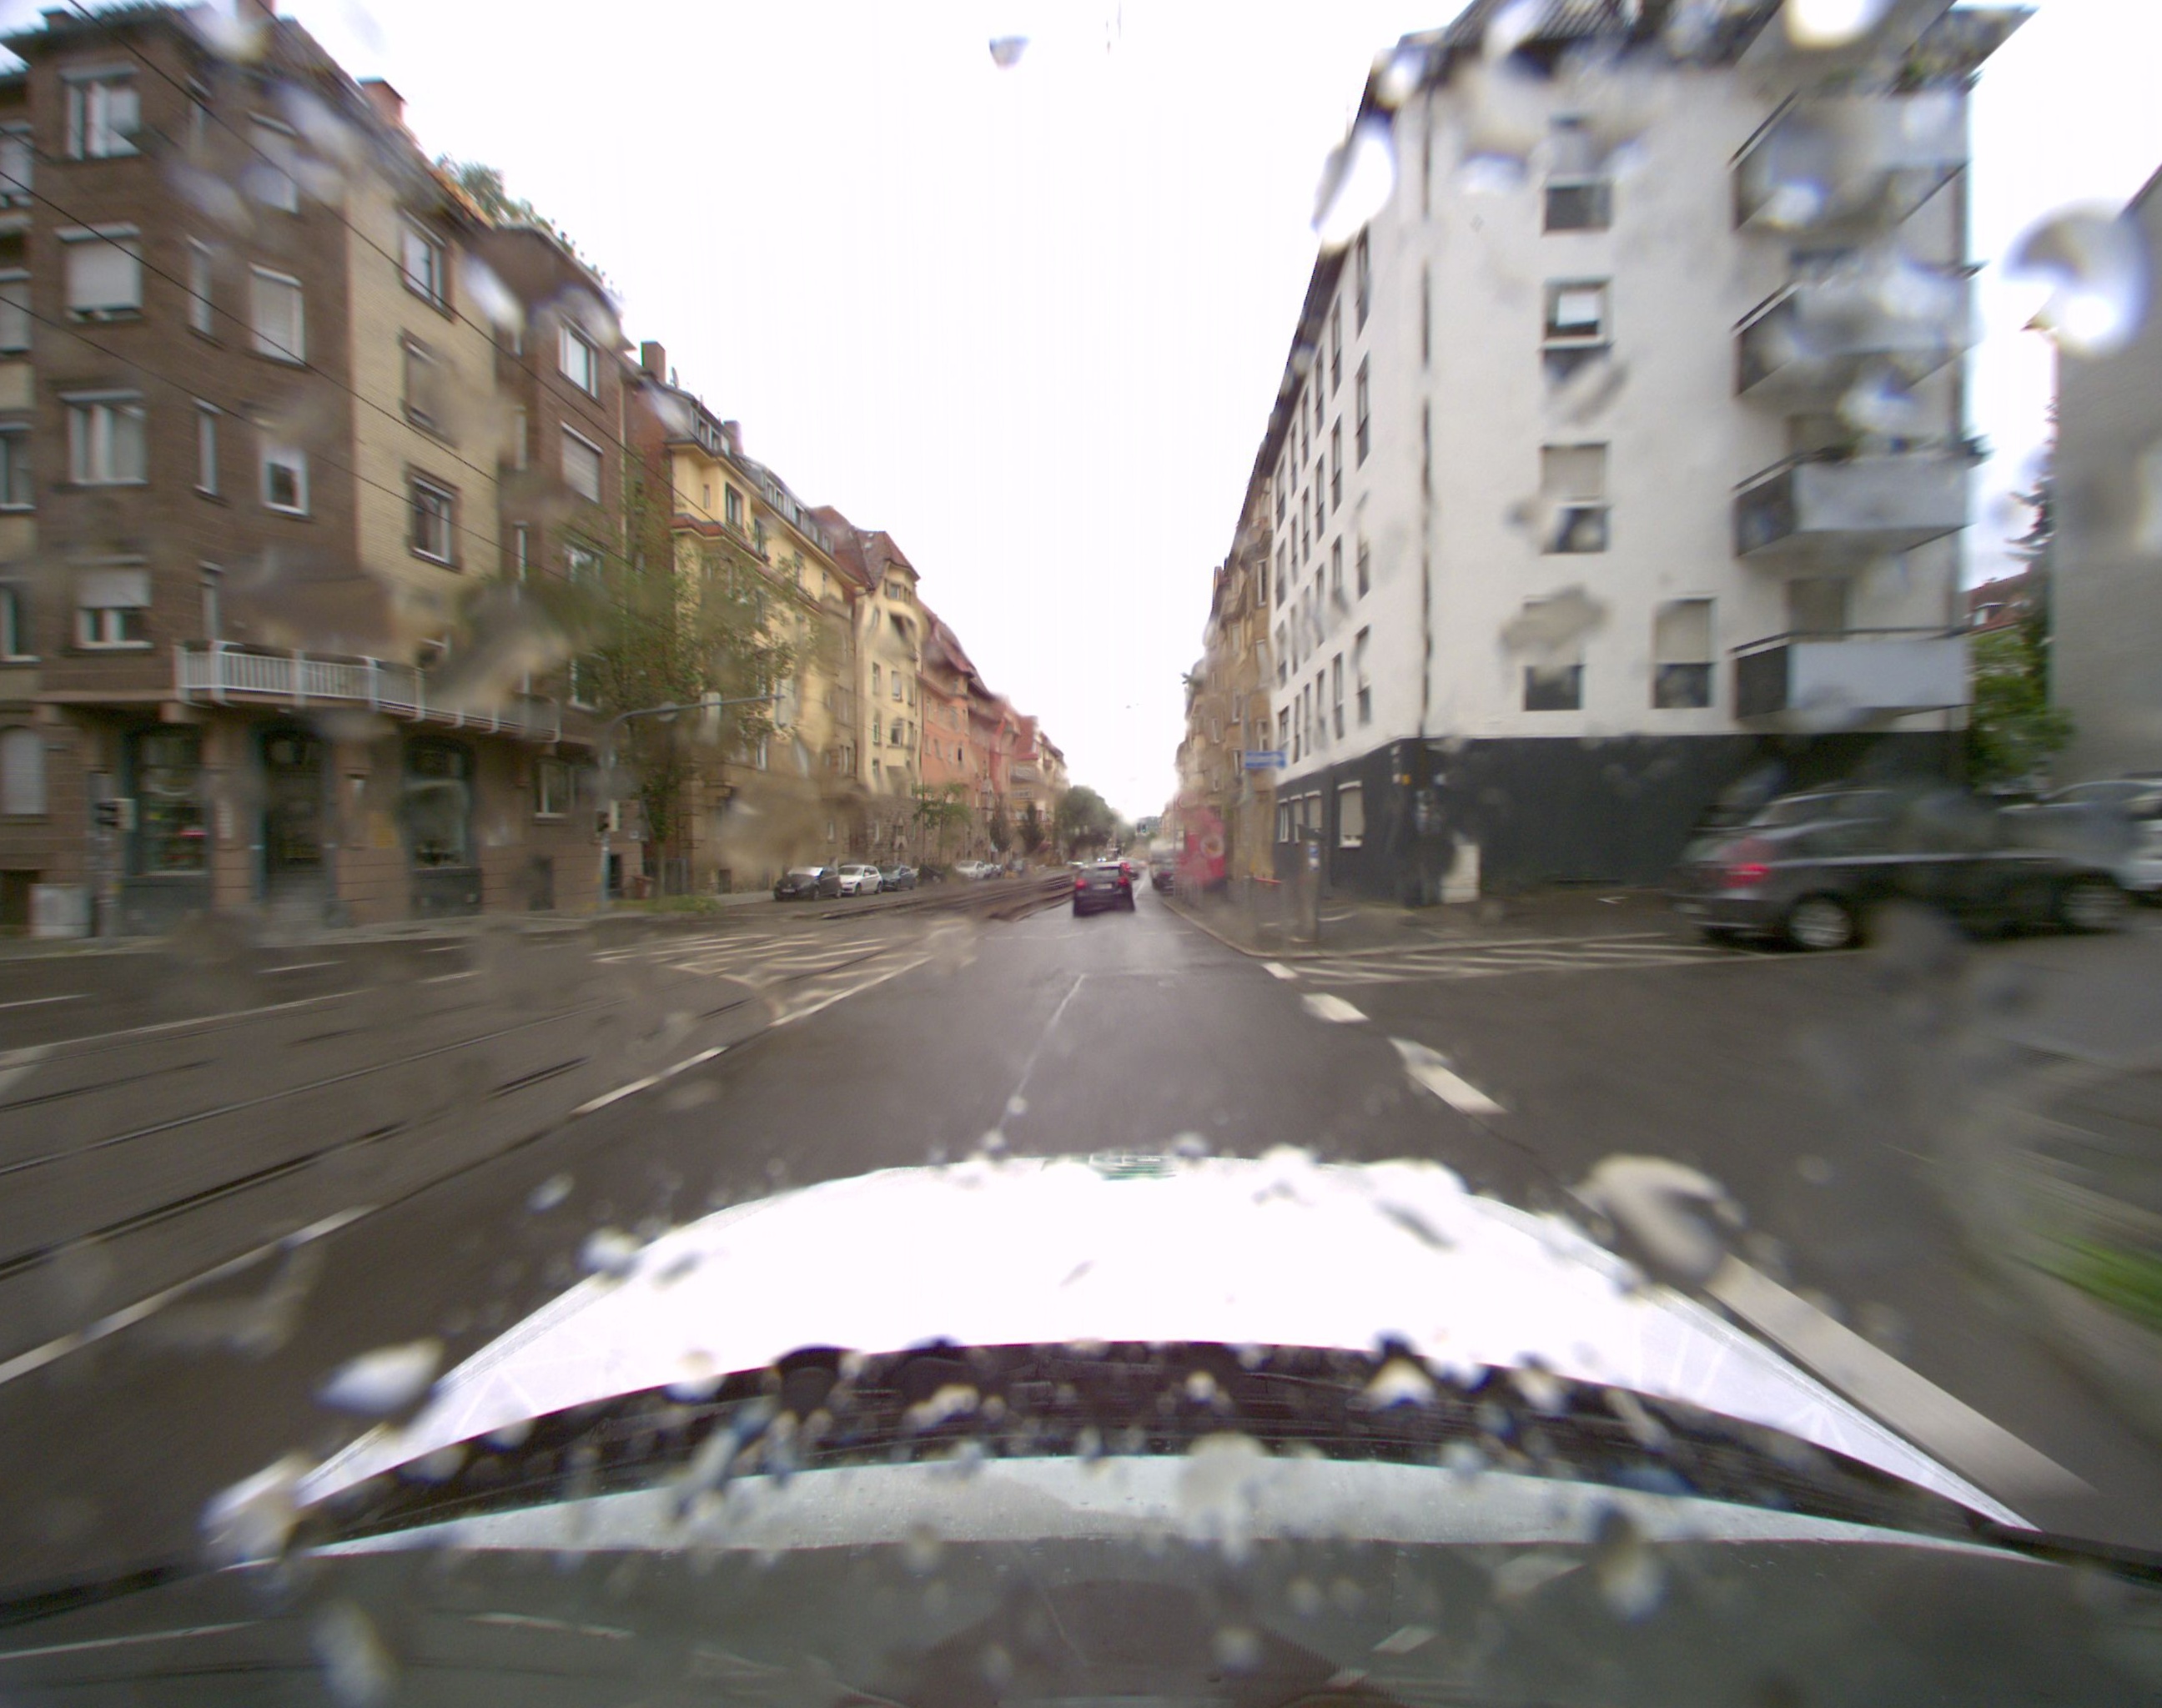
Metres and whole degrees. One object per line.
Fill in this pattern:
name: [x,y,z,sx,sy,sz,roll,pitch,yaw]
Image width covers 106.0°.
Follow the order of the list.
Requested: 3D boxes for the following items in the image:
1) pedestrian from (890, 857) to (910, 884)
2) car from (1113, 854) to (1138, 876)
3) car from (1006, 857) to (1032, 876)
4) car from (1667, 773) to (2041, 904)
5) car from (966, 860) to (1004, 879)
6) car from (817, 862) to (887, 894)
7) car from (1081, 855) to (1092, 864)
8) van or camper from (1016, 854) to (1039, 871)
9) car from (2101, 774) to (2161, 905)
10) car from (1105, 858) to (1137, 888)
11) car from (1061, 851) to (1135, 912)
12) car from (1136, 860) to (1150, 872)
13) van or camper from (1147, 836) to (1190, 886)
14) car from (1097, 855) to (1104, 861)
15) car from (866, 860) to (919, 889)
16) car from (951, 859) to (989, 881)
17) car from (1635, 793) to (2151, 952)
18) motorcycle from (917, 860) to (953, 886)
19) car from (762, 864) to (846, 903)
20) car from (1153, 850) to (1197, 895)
pedestrian: [-12.014,1.085,54.010,1.002,1.753,0.926,0,-1,6]
car: [3.594,0.909,66.387,1.914,1.655,4.002,-2,0,1]
car: [-6.519,1.301,86.339,1.985,1.901,4.704,-2,0,4]
car: [11.852,-0.247,12.755,3.964,1.690,1.744,-3,2,8]
car: [-8.137,1.317,69.443,1.983,1.509,4.984,1,0,7]
car: [-10.811,1.097,38.766,1.658,1.426,4.270,-1,-1,7]
car: [1.201,1.165,175.844,1.984,1.794,4.006,0,0,5]
van or camper: [-6.134,0.959,93.744,1.985,1.901,4.703,-1,0,3]
car: [14.460,-0.268,9.180,3.973,1.502,1.467,-3,-2,0]
car: [2.178,1.003,43.747,1.528,1.510,4.006,0,0,5]
car: [0.573,0.758,23.509,1.937,1.565,3.646,-2,-1,4]
car: [8.920,1.748,117.630,1.893,1.593,4.005,-2,-1,5]
van or camper: [4.676,0.386,43.921,2.054,2.469,6.127,-1,-1,5]
car: [5.319,1.125,224.841,1.789,1.548,4.001,0,-1,1]
car: [-10.333,1.102,44.905,1.553,1.438,4.152,-2,0,5]
car: [-8.605,1.190,63.367,1.775,1.589,4.360,-2,-1,7]
car: [9.062,0.213,9.430,3.967,1.414,1.764,-4,-1,6]
motorcycle: [-9.525,1.245,52.934,2.261,1.642,1.287,-1,-1,-12]
car: [-11.389,1.186,33.736,1.756,1.486,4.006,-1,-1,6]
car: [4.043,0.761,35.438,1.760,1.808,4.488,0,0,5]
